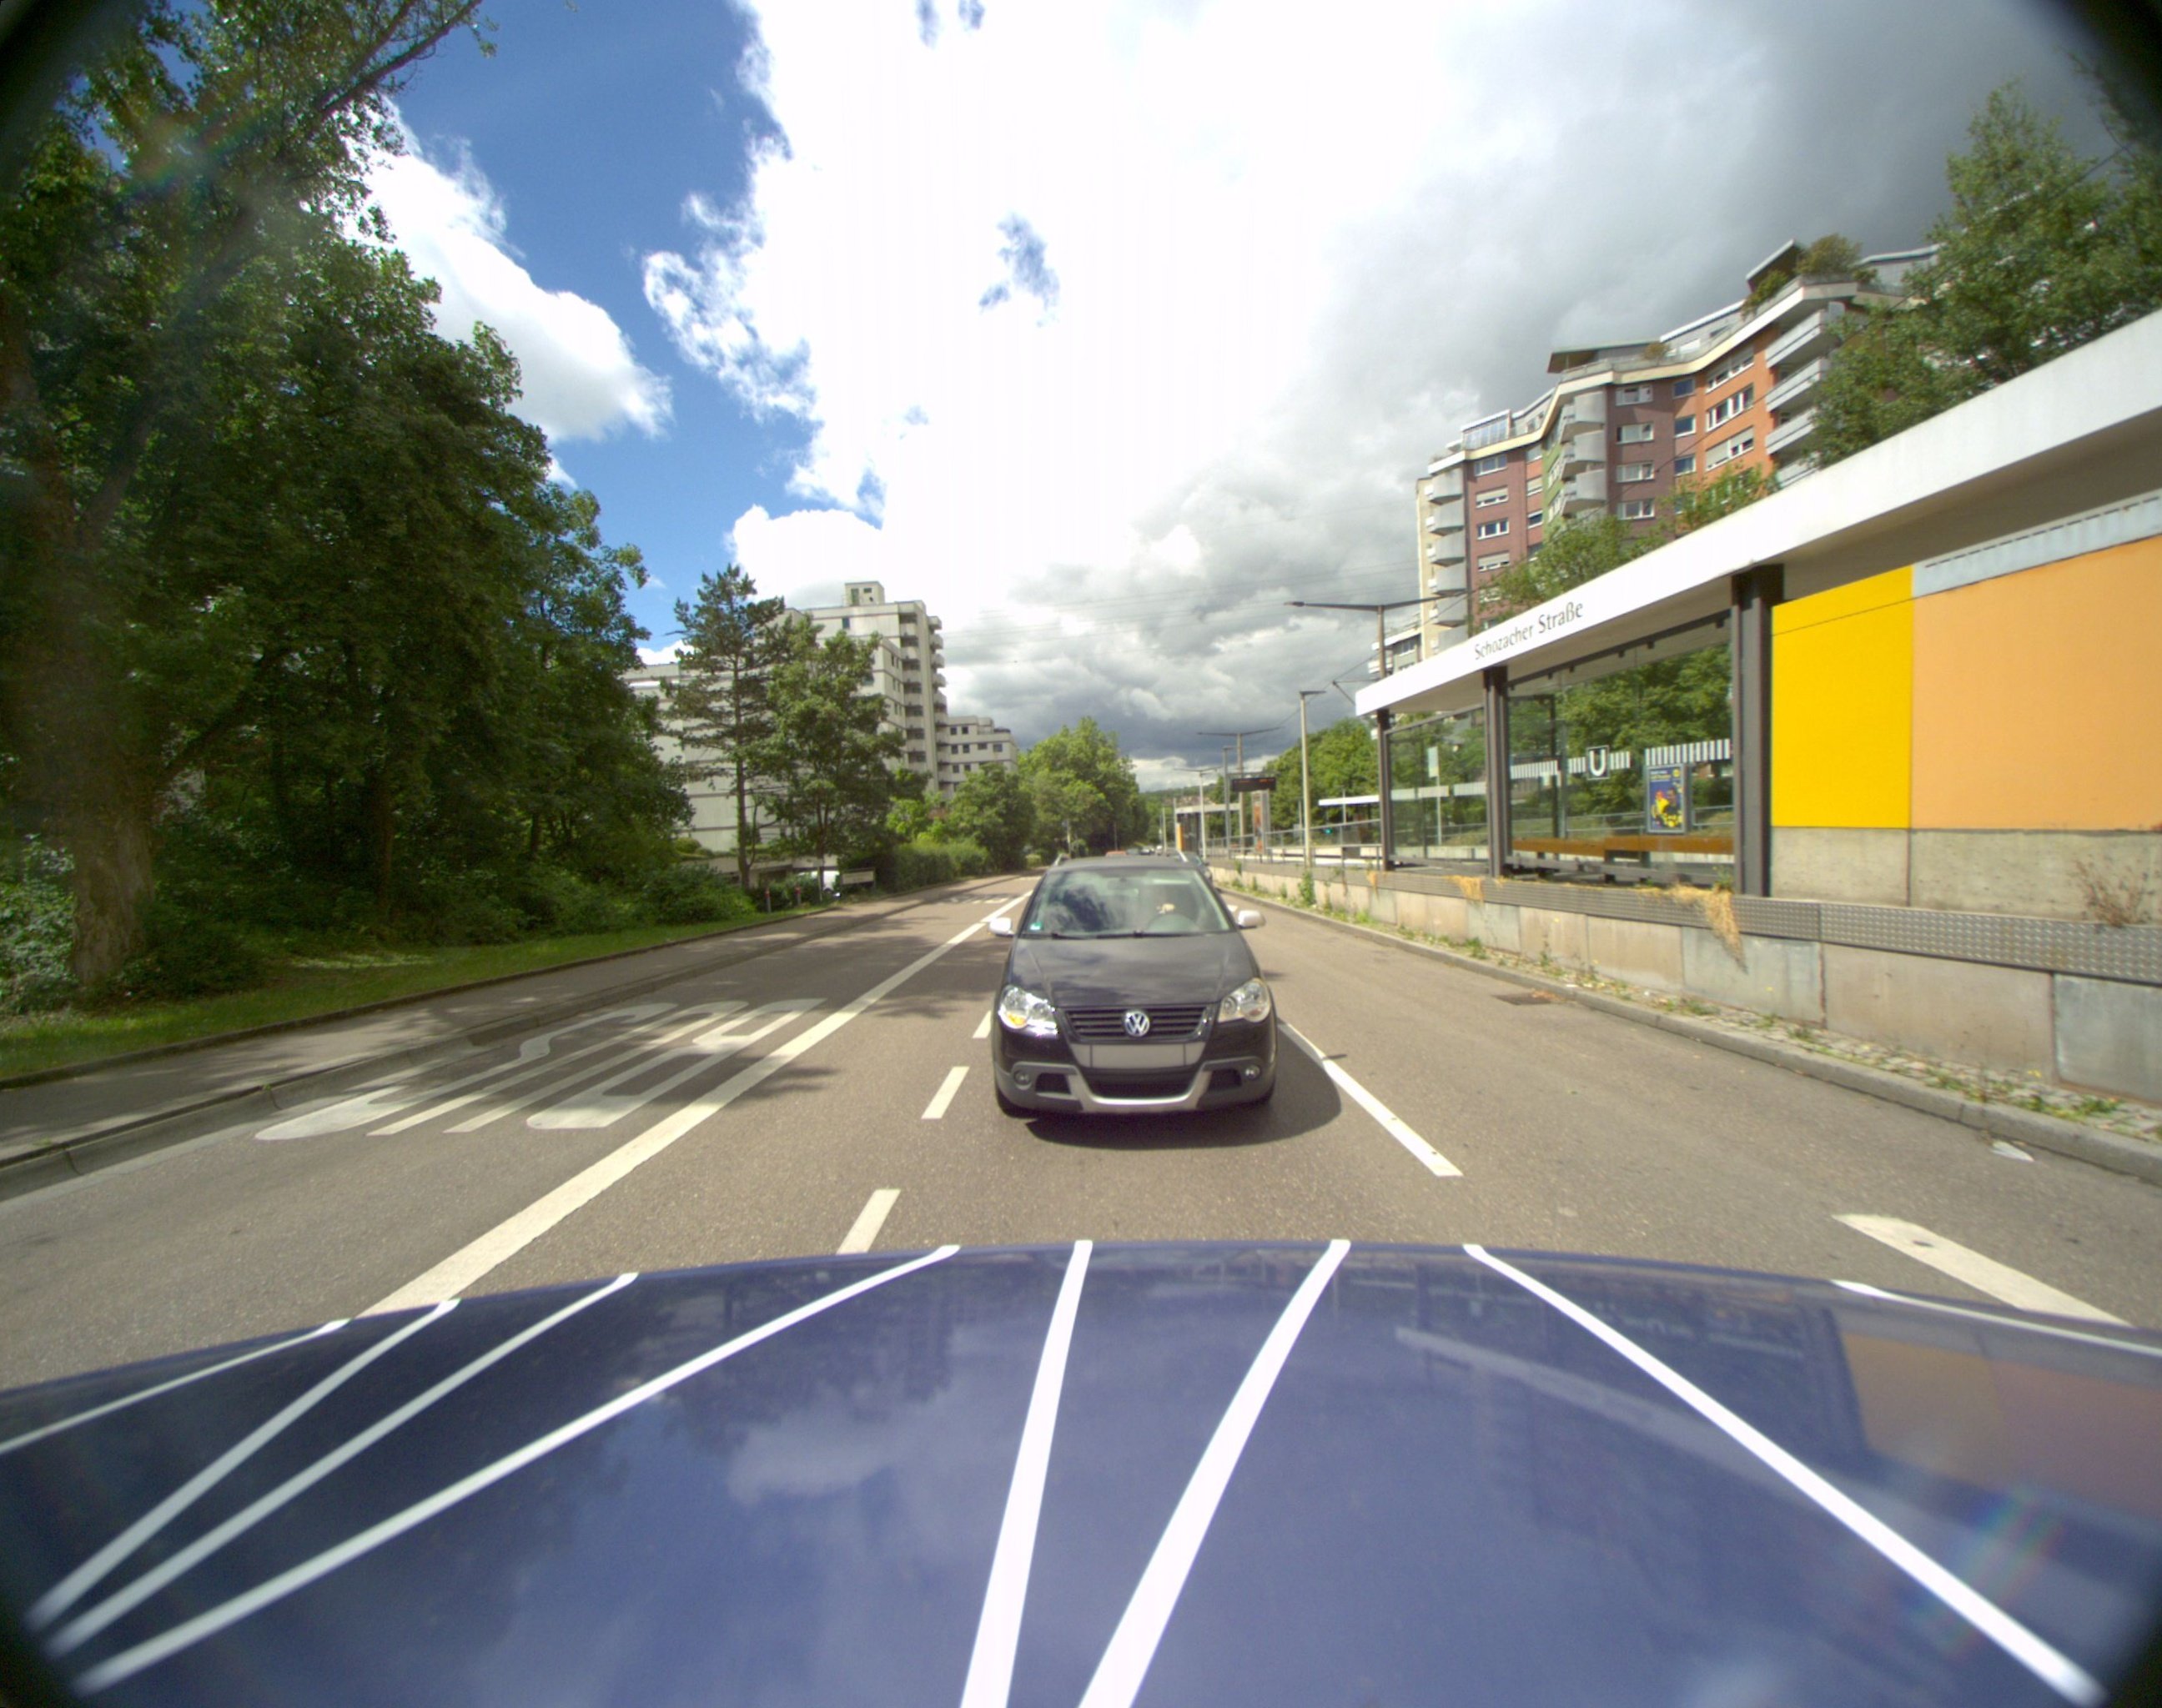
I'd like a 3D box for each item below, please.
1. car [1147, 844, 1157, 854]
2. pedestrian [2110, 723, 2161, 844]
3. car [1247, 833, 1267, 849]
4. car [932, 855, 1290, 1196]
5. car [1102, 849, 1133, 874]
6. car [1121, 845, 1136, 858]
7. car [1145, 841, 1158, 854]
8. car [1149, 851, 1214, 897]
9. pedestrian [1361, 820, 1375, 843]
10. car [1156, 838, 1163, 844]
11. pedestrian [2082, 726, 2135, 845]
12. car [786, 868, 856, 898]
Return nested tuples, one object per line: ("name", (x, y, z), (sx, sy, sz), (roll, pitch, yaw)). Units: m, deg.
("car", (13.840, -1.018, 148.457), (1.802, 1.698, 4.000), (-3, 1, 4))
("pedestrian", (15.279, -1.001, 10.933), (0.387, 1.703, 0.550), (-3, 2, -37))
("car", (22.283, -1.663, 96.424), (1.737, 2.002, 4.000), (-2, 1, 2))
("car", (0.233, 0.831, 5.615), (1.641, 1.521, 4.000), (-2, 1, 3))
("car", (2.293, 0.448, 48.415), (1.821, 1.377, 4.065), (-2, 1, 2))
("car", (5.561, -0.329, 87.961), (1.643, 1.395, 3.708), (-2, 1, 5))
("car", (11.617, -1.142, 125.558), (1.997, 2.002, 4.001), (-3, 1, 6))
("car", (3.412, 0.631, 26.435), (1.821, 1.377, 4.065), (-2, 1, 2))
("pedestrian", (16.552, -1.305, 43.821), (0.536, 1.270, 0.561), (-2, 1, -4))
("car", (21.199, -3.573, 205.697), (1.518, 1.674, 4.000), (-2, 1, 3))
("pedestrian", (15.097, -0.988, 11.169), (0.354, 1.703, 0.426), (-3, 2, -41))
("car", (-19.846, 2.210, 58.130), (4.543, 2.002, 2.001), (-2, 1, 7))
